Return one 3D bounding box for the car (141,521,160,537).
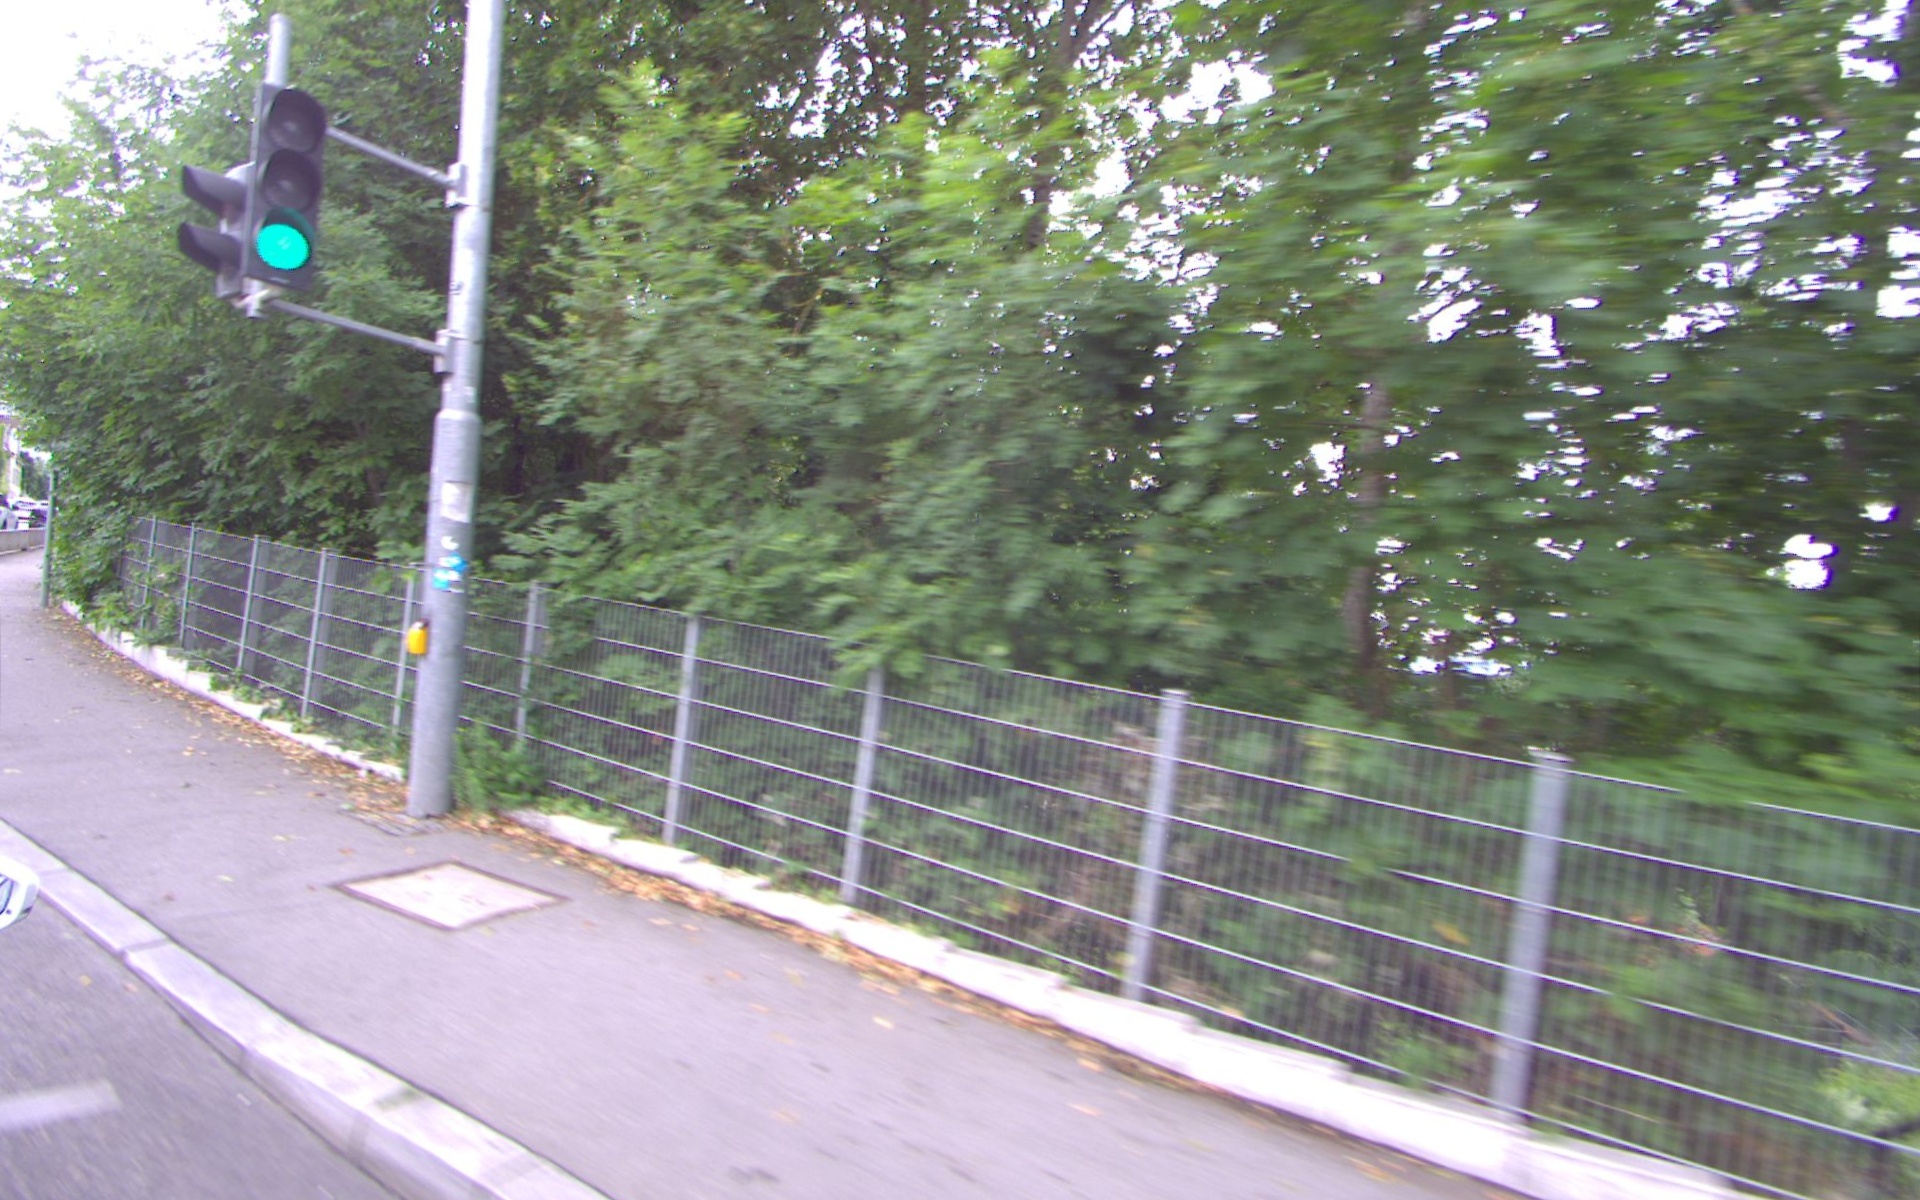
[{"bbox_3d":[-123.611,-10.767,153.675,1.985,2.036,3.960,9,-3,-37],"label":"car"}]

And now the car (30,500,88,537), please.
[{"bbox_3d":[-44.650,-4.013,49.929,1.699,1.480,3.960,9,-3,-37],"label":"car"}]

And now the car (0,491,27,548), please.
[{"bbox_3d":[-29.054,-2.479,29.610,1.772,1.597,3.960,9,-2,-37],"label":"car"}]

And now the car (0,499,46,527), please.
[{"bbox_3d":[-60.161,-5.565,64.641,1.697,1.482,3.959,6,0,-38],"label":"car"}]

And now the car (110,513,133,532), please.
[{"bbox_3d":[-113.681,-10.483,136.358,1.985,2.036,3.960,9,-3,-37],"label":"car"}]
